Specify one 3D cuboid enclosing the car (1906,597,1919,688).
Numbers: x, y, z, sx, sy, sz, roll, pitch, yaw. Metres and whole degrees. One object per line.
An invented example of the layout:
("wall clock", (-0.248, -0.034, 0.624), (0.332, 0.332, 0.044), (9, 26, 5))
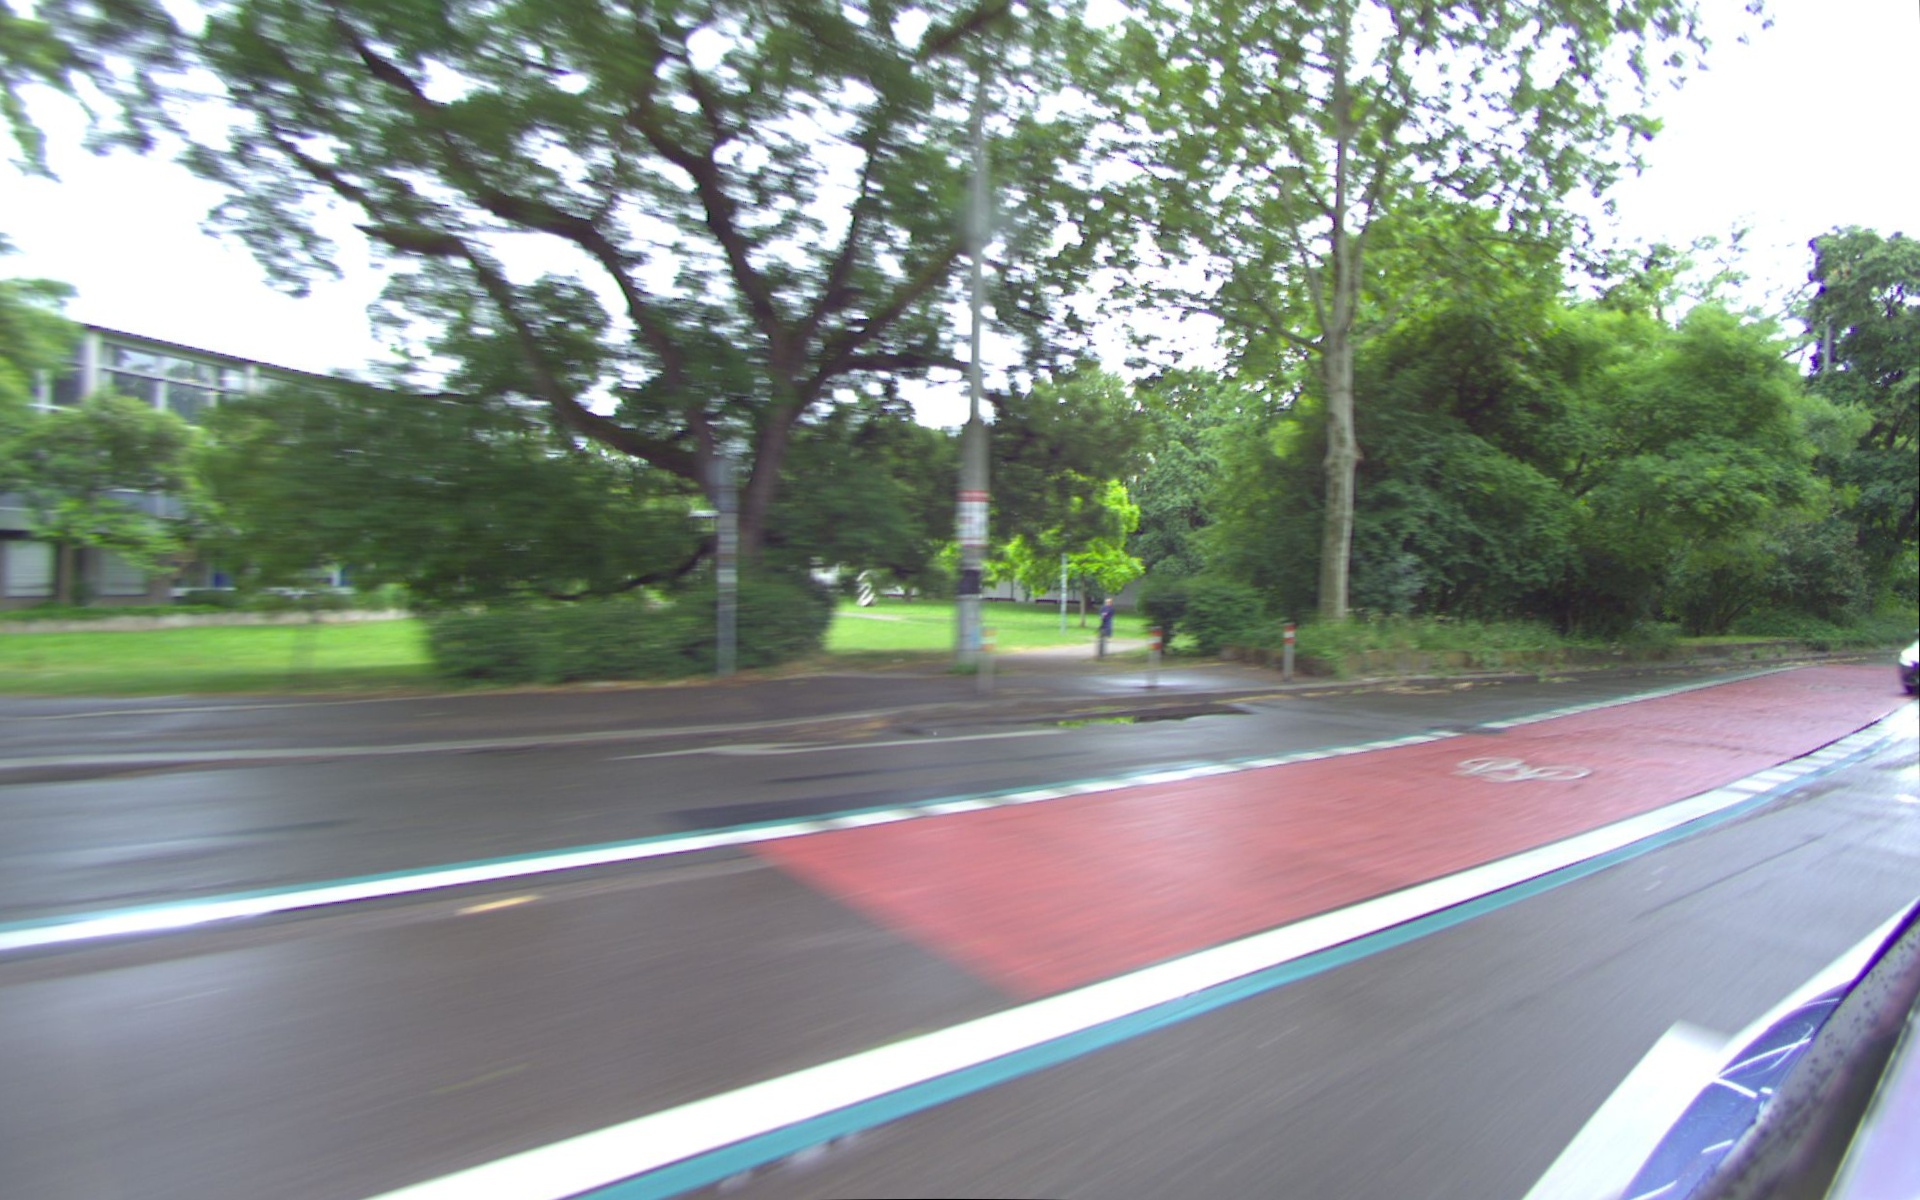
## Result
("car", (17.734, 0.735, 16.746), (4.315, 1.468, 1.870), (1, 0, -30))
